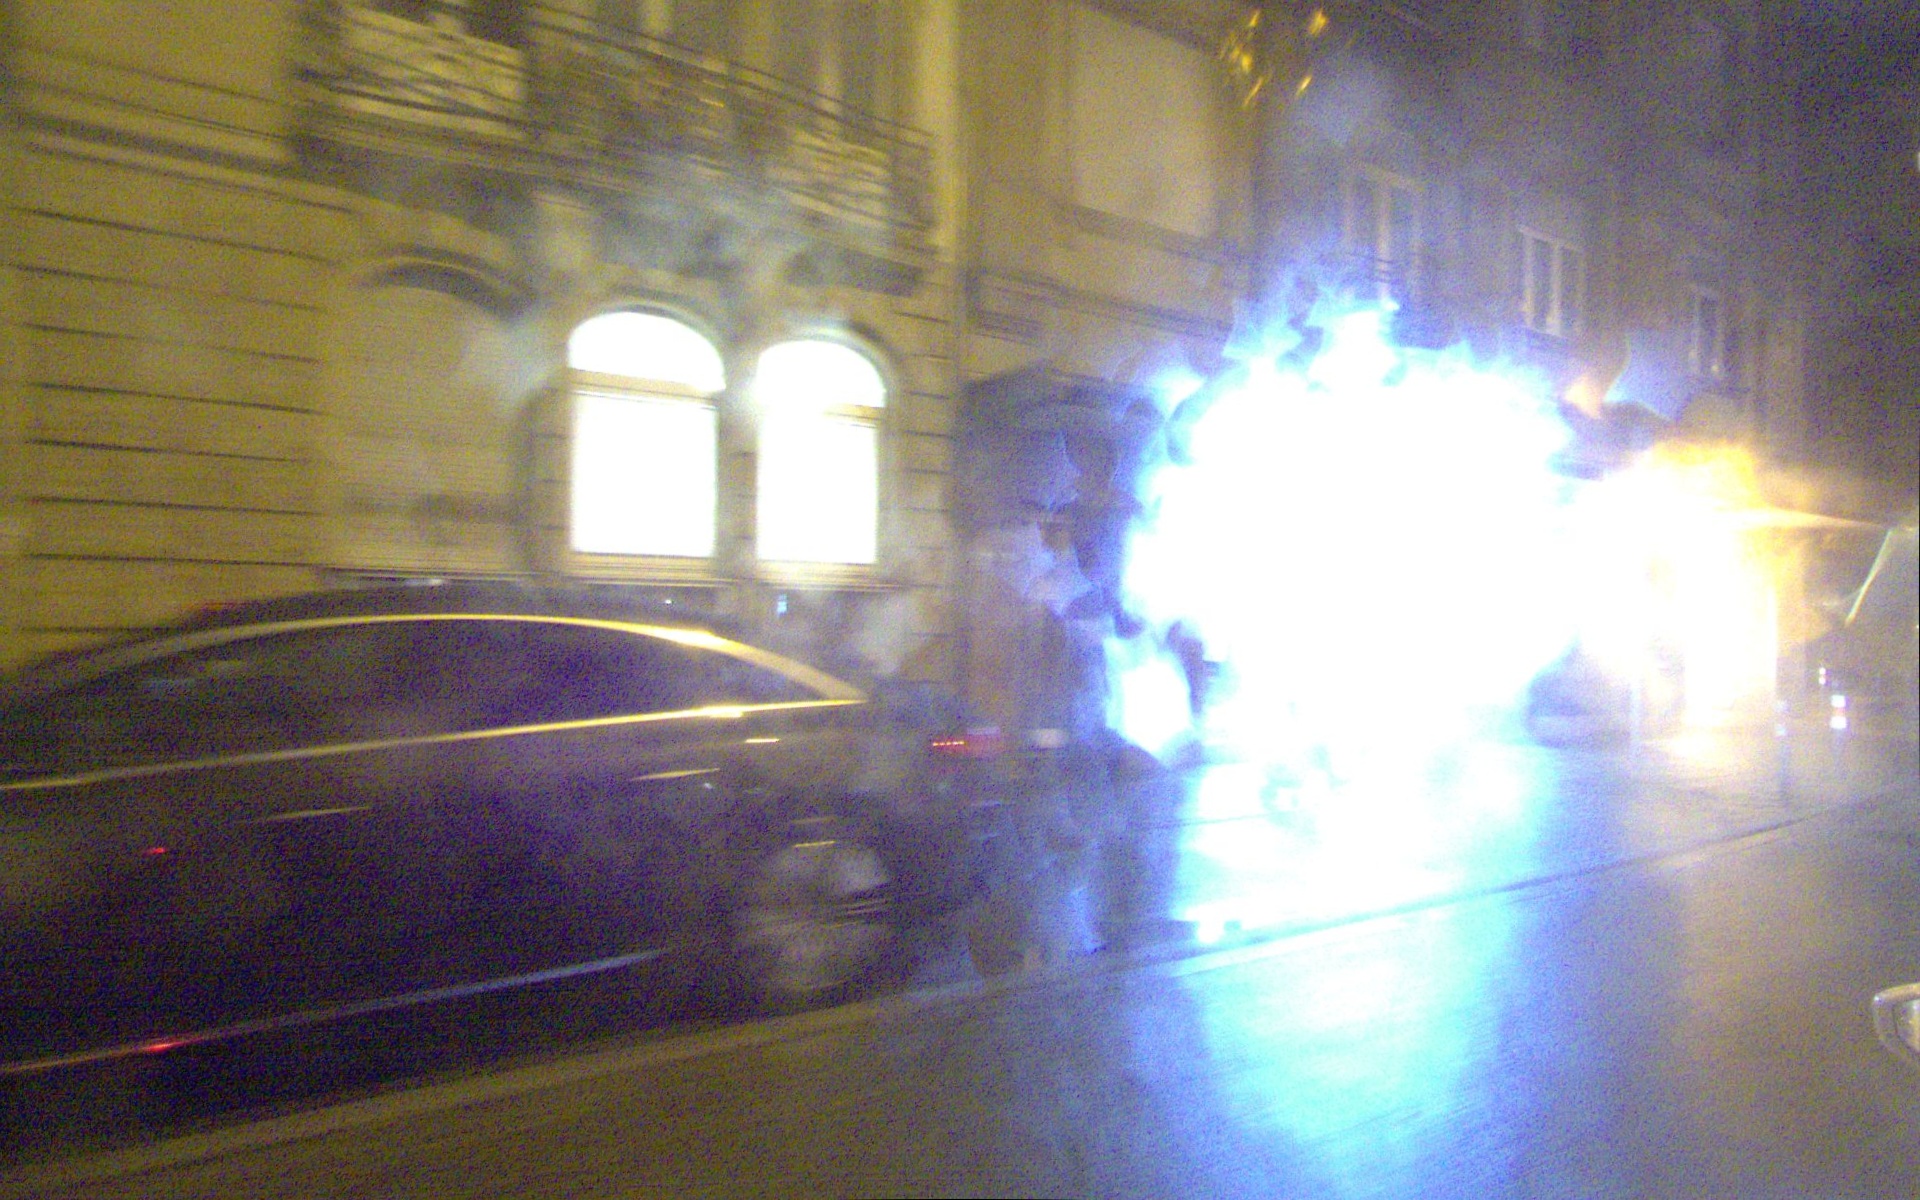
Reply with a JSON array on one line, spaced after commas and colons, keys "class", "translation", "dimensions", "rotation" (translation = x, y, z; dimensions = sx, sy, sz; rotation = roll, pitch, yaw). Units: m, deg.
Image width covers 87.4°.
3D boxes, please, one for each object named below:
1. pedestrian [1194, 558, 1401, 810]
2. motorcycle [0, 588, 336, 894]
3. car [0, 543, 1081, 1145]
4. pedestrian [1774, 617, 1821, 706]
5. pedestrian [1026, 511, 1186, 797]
[{"class": "pedestrian", "translation": [2.794, 0.652, 8.325], "dimensions": [1.399, 1.888, 0.951], "rotation": [1, -1, -31]}, {"class": "motorcycle", "translation": [-4.259, 0.703, 5.440], "dimensions": [1.441, 1.490, 0.534], "rotation": [1, 0, -31]}, {"class": "car", "translation": [-2.103, 0.636, 3.725], "dimensions": [4.971, 1.498, 1.838], "rotation": [2, -1, -30]}, {"class": "pedestrian", "translation": [18.759, 1.361, 22.514], "dimensions": [0.643, 1.934, 0.627], "rotation": [3, 1, 32]}, {"class": "pedestrian", "translation": [1.246, 0.445, 8.596], "dimensions": [1.104, 2.270, 0.795], "rotation": [1, -1, -31]}]
